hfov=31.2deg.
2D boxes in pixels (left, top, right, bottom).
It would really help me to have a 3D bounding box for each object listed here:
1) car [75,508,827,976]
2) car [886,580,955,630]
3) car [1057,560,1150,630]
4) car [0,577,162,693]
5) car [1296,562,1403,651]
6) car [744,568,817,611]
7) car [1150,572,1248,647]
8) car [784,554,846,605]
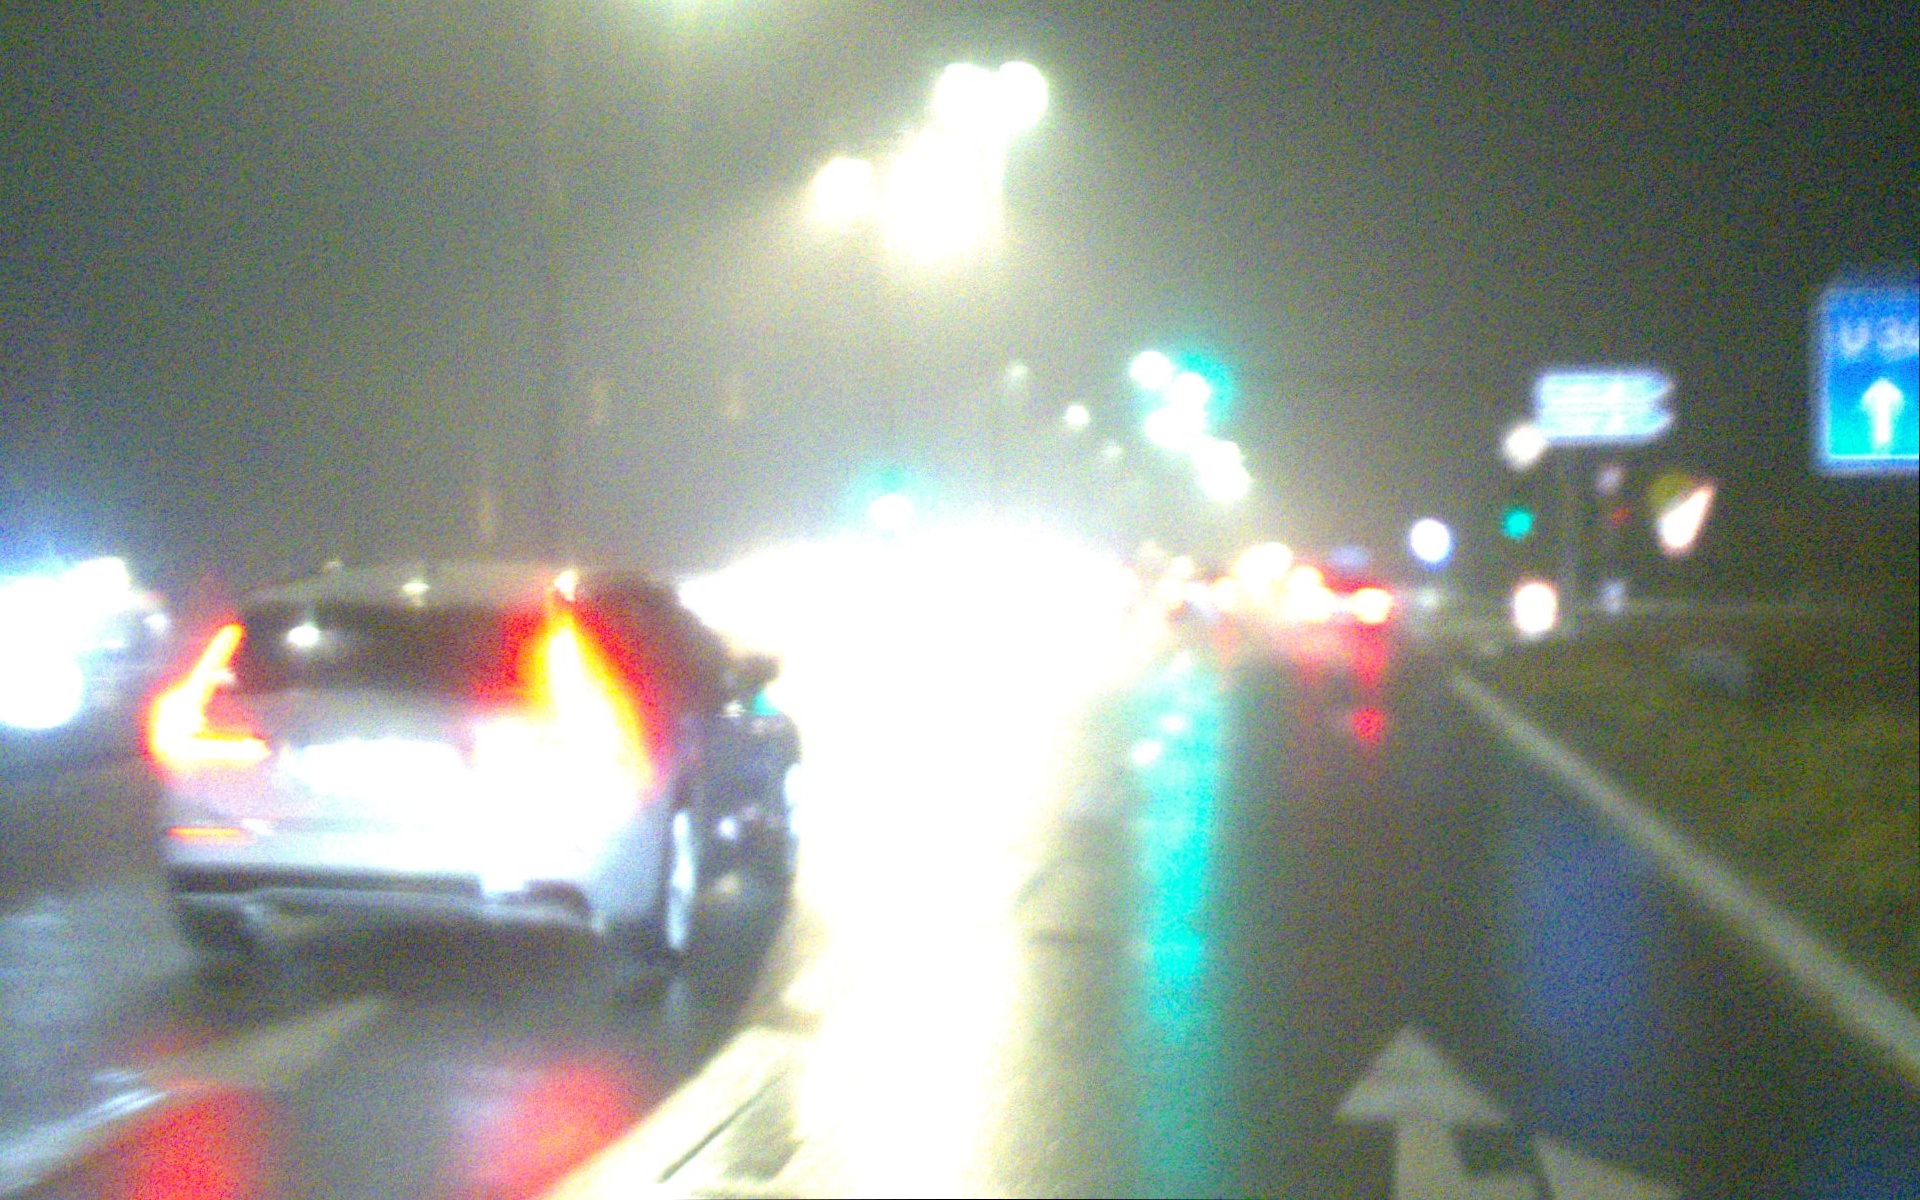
[{"bbox_3d":[-1.784,0.512,13.555,1.797,1.447,4.267,3,-1,7],"label":"car"},{"bbox_3d":[-1.172,0.147,103.007,1.590,1.422,3.349,1,1,7],"label":"car"},{"bbox_3d":[4.012,-0.122,95.533,2.178,1.596,3.998,5,-1,7],"label":"car"},{"bbox_3d":[-13.049,0.493,49.138,1.883,1.525,4.430,3,-1,4],"label":"car"},{"bbox_3d":[8.370,0.164,73.632,1.911,1.596,3.998,5,-1,10],"label":"car"},{"bbox_3d":[-5.256,-0.320,101.013,1.644,1.199,3.614,1,1,5],"label":"car"},{"bbox_3d":[6.133,0.262,87.849,2.178,1.596,3.998,5,-1,7],"label":"car"},{"bbox_3d":[-5.586,-0.792,132.541,1.762,1.886,4.205,1,1,6],"label":"car"}]
